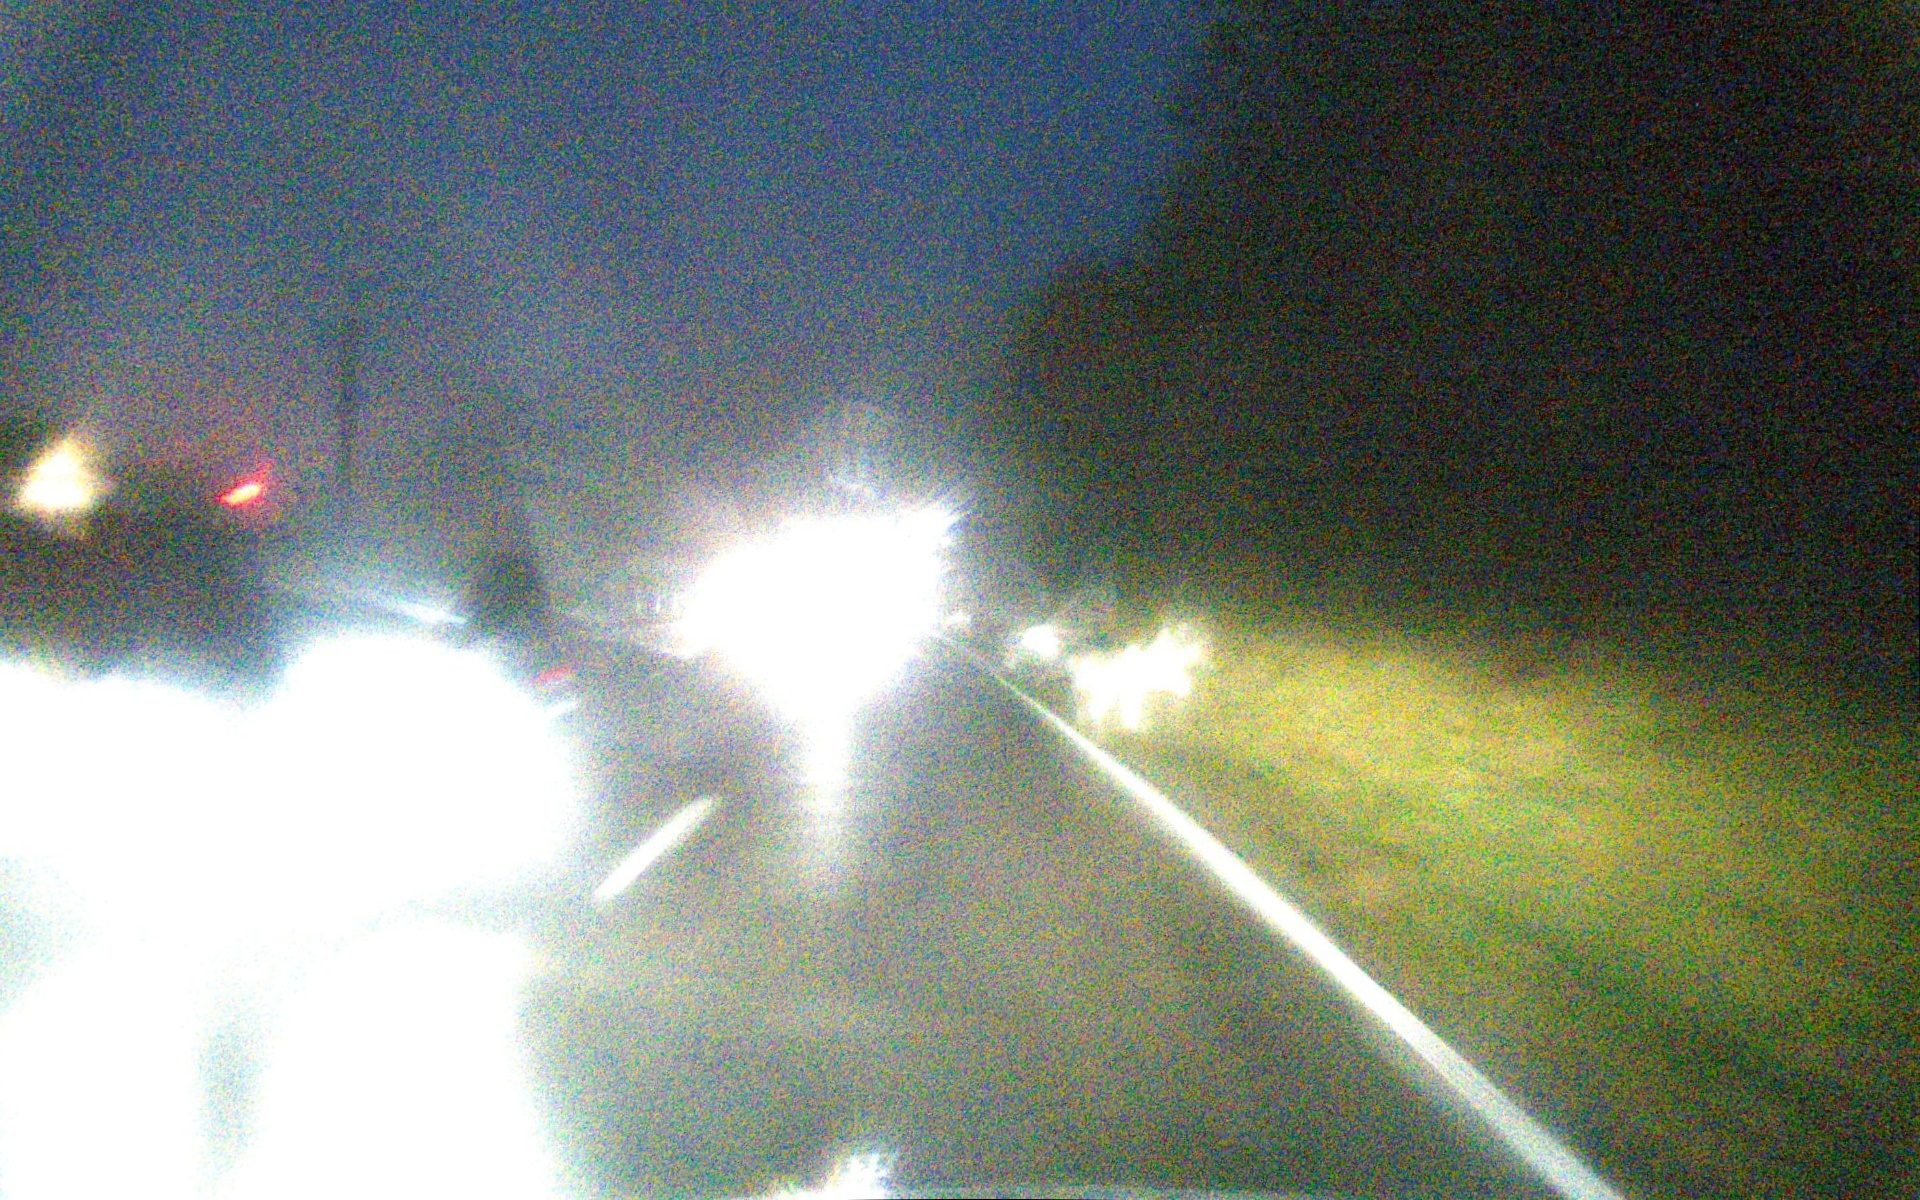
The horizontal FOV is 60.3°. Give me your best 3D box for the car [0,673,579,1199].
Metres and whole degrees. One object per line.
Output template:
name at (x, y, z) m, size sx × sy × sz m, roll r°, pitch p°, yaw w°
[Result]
car at (-3.401, 1.551, 9.144) m, size 1.955 × 2.049 × 3.996 m, roll 1°, pitch 1°, yaw -5°
